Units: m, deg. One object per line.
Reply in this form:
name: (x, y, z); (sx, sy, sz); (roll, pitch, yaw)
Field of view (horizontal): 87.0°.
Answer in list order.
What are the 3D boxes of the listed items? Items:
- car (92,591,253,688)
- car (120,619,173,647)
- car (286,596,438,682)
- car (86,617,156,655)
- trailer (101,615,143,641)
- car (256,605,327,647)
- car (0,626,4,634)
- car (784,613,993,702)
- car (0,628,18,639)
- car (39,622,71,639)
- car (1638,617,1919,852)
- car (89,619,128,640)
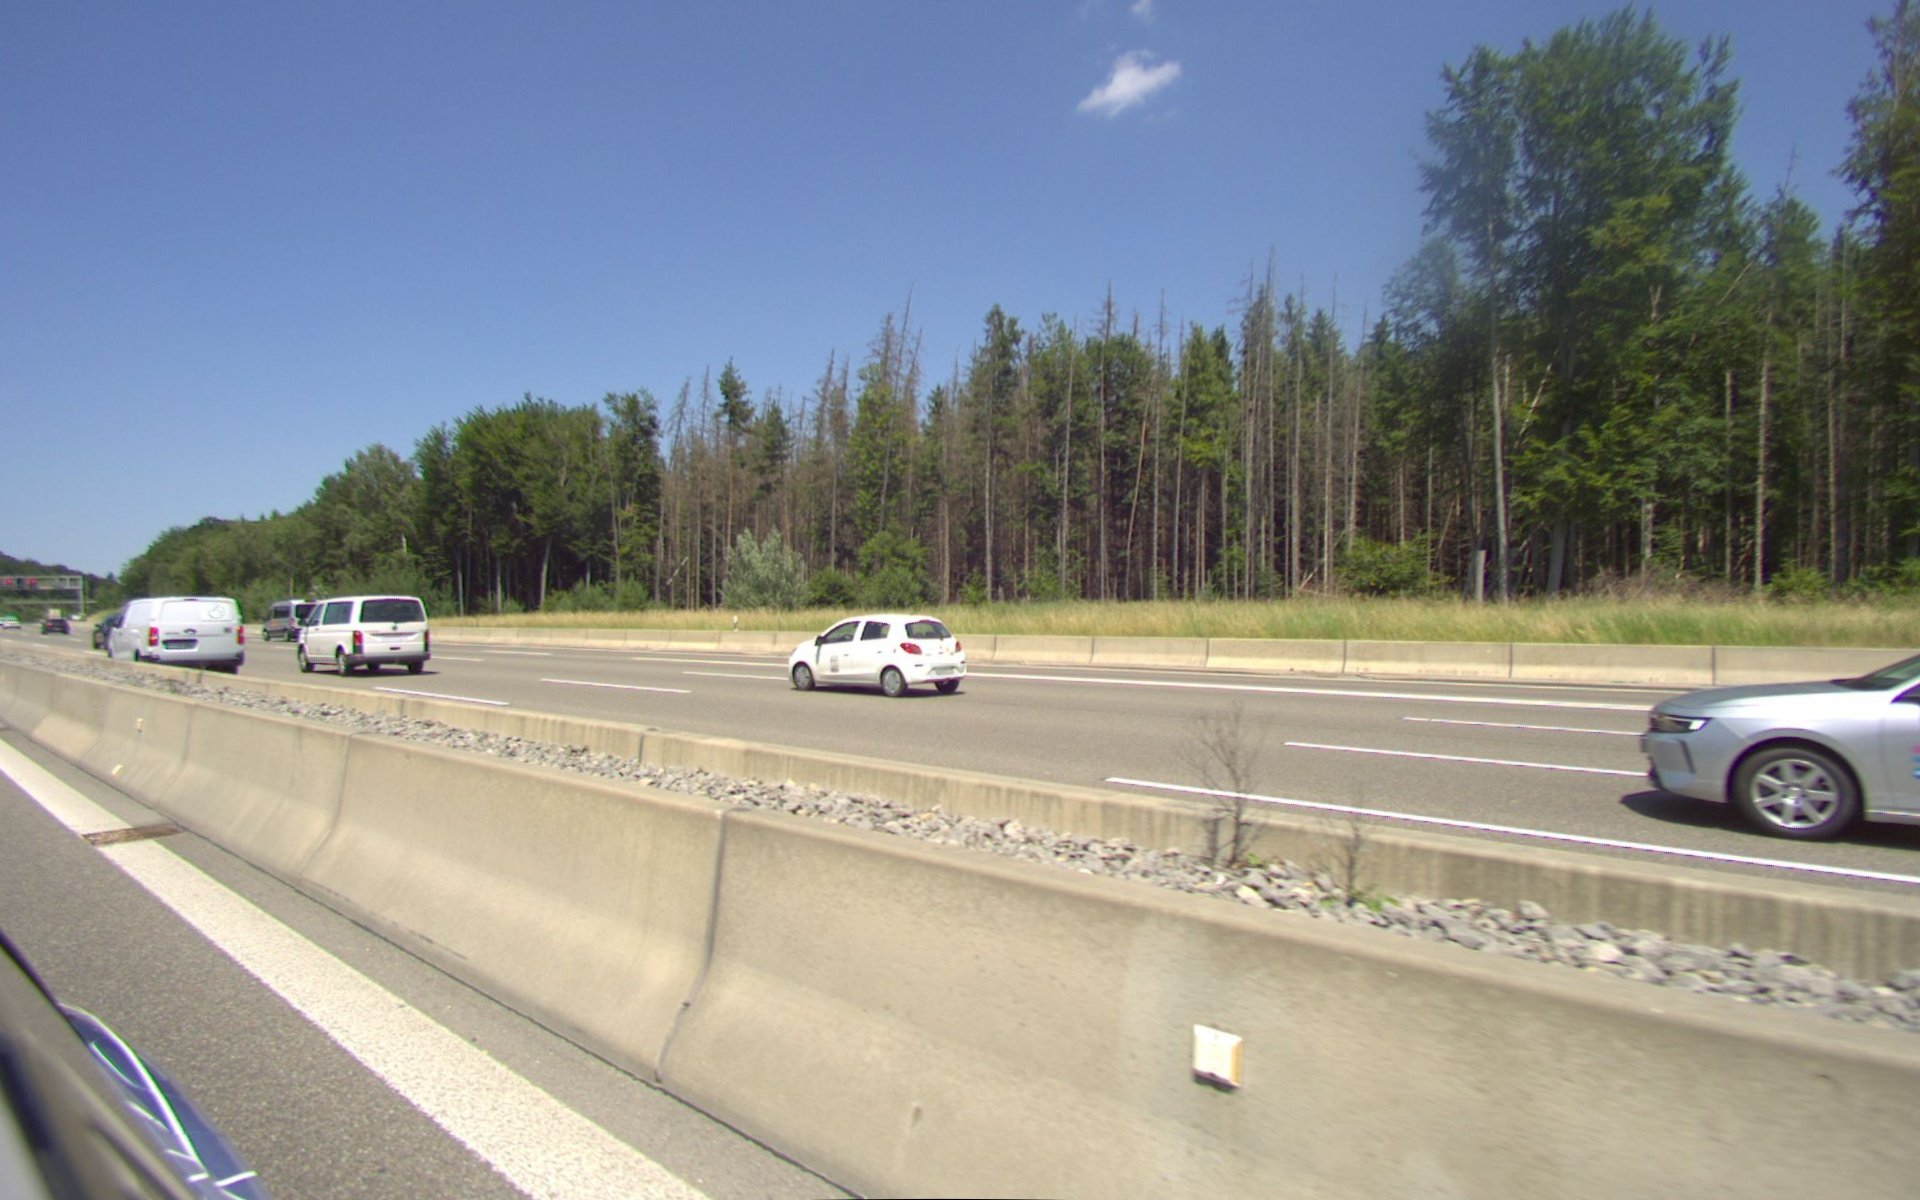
car: (-18.968, 0.892, 24.253); (5.709, 2.059, 2.055); (-1, -1, 42)
car: (-48.410, 1.958, 60.181); (4.671, 1.582, 1.711); (-1, -1, 42)
car: (-15.669, 0.949, 26.388); (5.128, 2.029, 1.972); (-1, -1, 42)
car: (-39.710, 1.680, 47.834); (5.001, 1.711, 1.808); (-1, -1, 42)
trailer: (-70.320, 2.322, 84.878); (6.150, 2.066, 1.835); (-1, -1, 42)
car: (-41.174, 1.586, 62.271); (6.341, 2.431, 1.928); (-1, -1, 40)
car: (-170.798, 5.272, 179.121); (3.867, 1.410, 1.972); (-1, -1, 42)
car: (-1.408, 1.013, 19.093); (3.809, 1.497, 1.786); (-1, -1, 41)
car: (-127.456, 4.500, 135.280); (4.782, 1.475, 1.711); (-1, -1, 42)
car: (-82.953, 2.792, 92.753); (4.574, 1.475, 1.711); (-1, -1, 42)
car: (7.219, 0.807, 6.091); (5.009, 1.387, 1.972); (-1, -1, 42)
car: (-74.729, 2.547, 88.808); (5.580, 1.772, 1.794); (-1, -1, 42)
